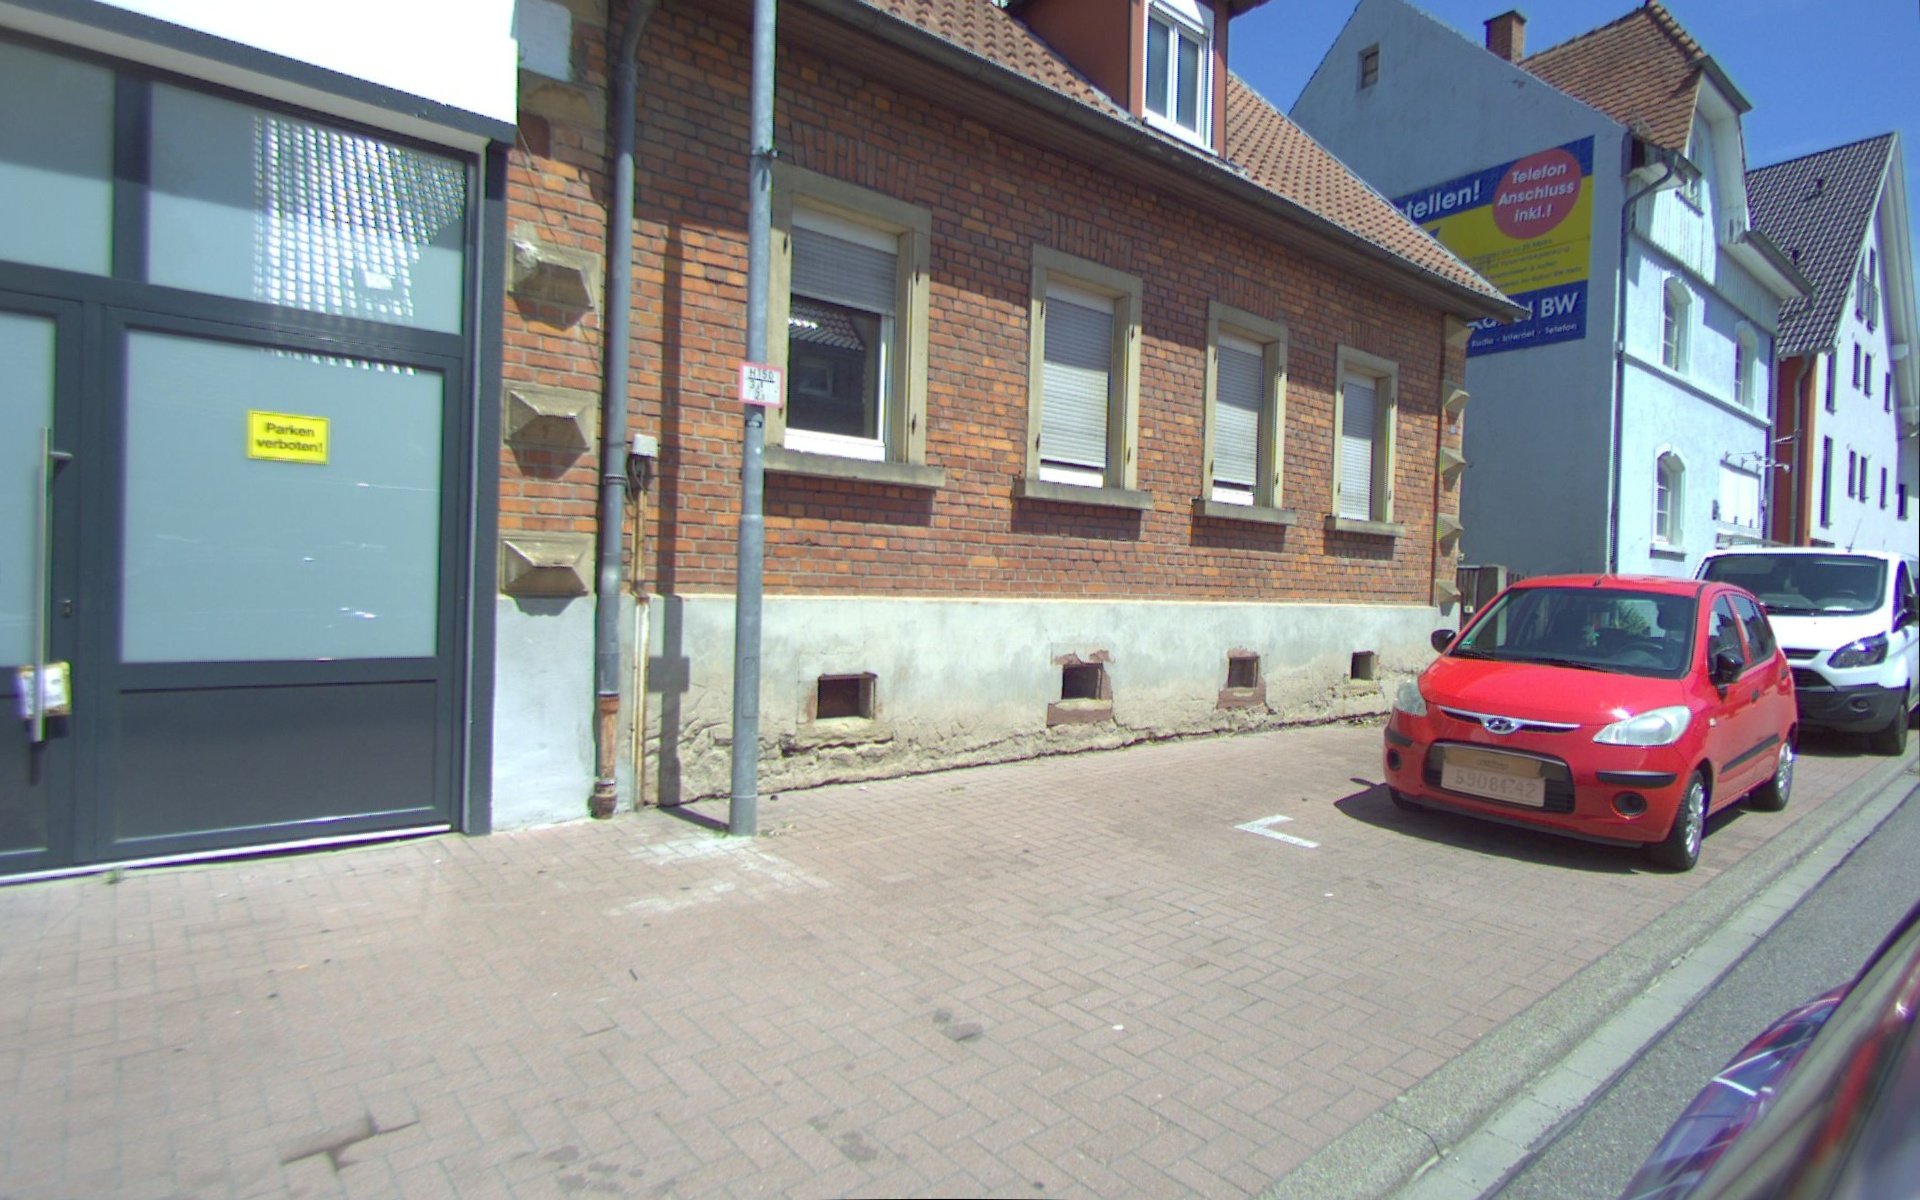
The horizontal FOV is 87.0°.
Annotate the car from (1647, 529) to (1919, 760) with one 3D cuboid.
[{"bbox_3d":[9.326,0.348,11.033,4.703,1.995,1.949,0,2,-42],"label":"car"}]

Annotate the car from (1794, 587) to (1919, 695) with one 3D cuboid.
[{"bbox_3d":[15.005,0.595,16.202,4.497,1.484,1.774,0,2,-41],"label":"car"}]

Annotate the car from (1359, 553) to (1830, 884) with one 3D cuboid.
[{"bbox_3d":[4.254,0.537,6.567,3.613,1.547,1.613,0,2,-42],"label":"car"}]
